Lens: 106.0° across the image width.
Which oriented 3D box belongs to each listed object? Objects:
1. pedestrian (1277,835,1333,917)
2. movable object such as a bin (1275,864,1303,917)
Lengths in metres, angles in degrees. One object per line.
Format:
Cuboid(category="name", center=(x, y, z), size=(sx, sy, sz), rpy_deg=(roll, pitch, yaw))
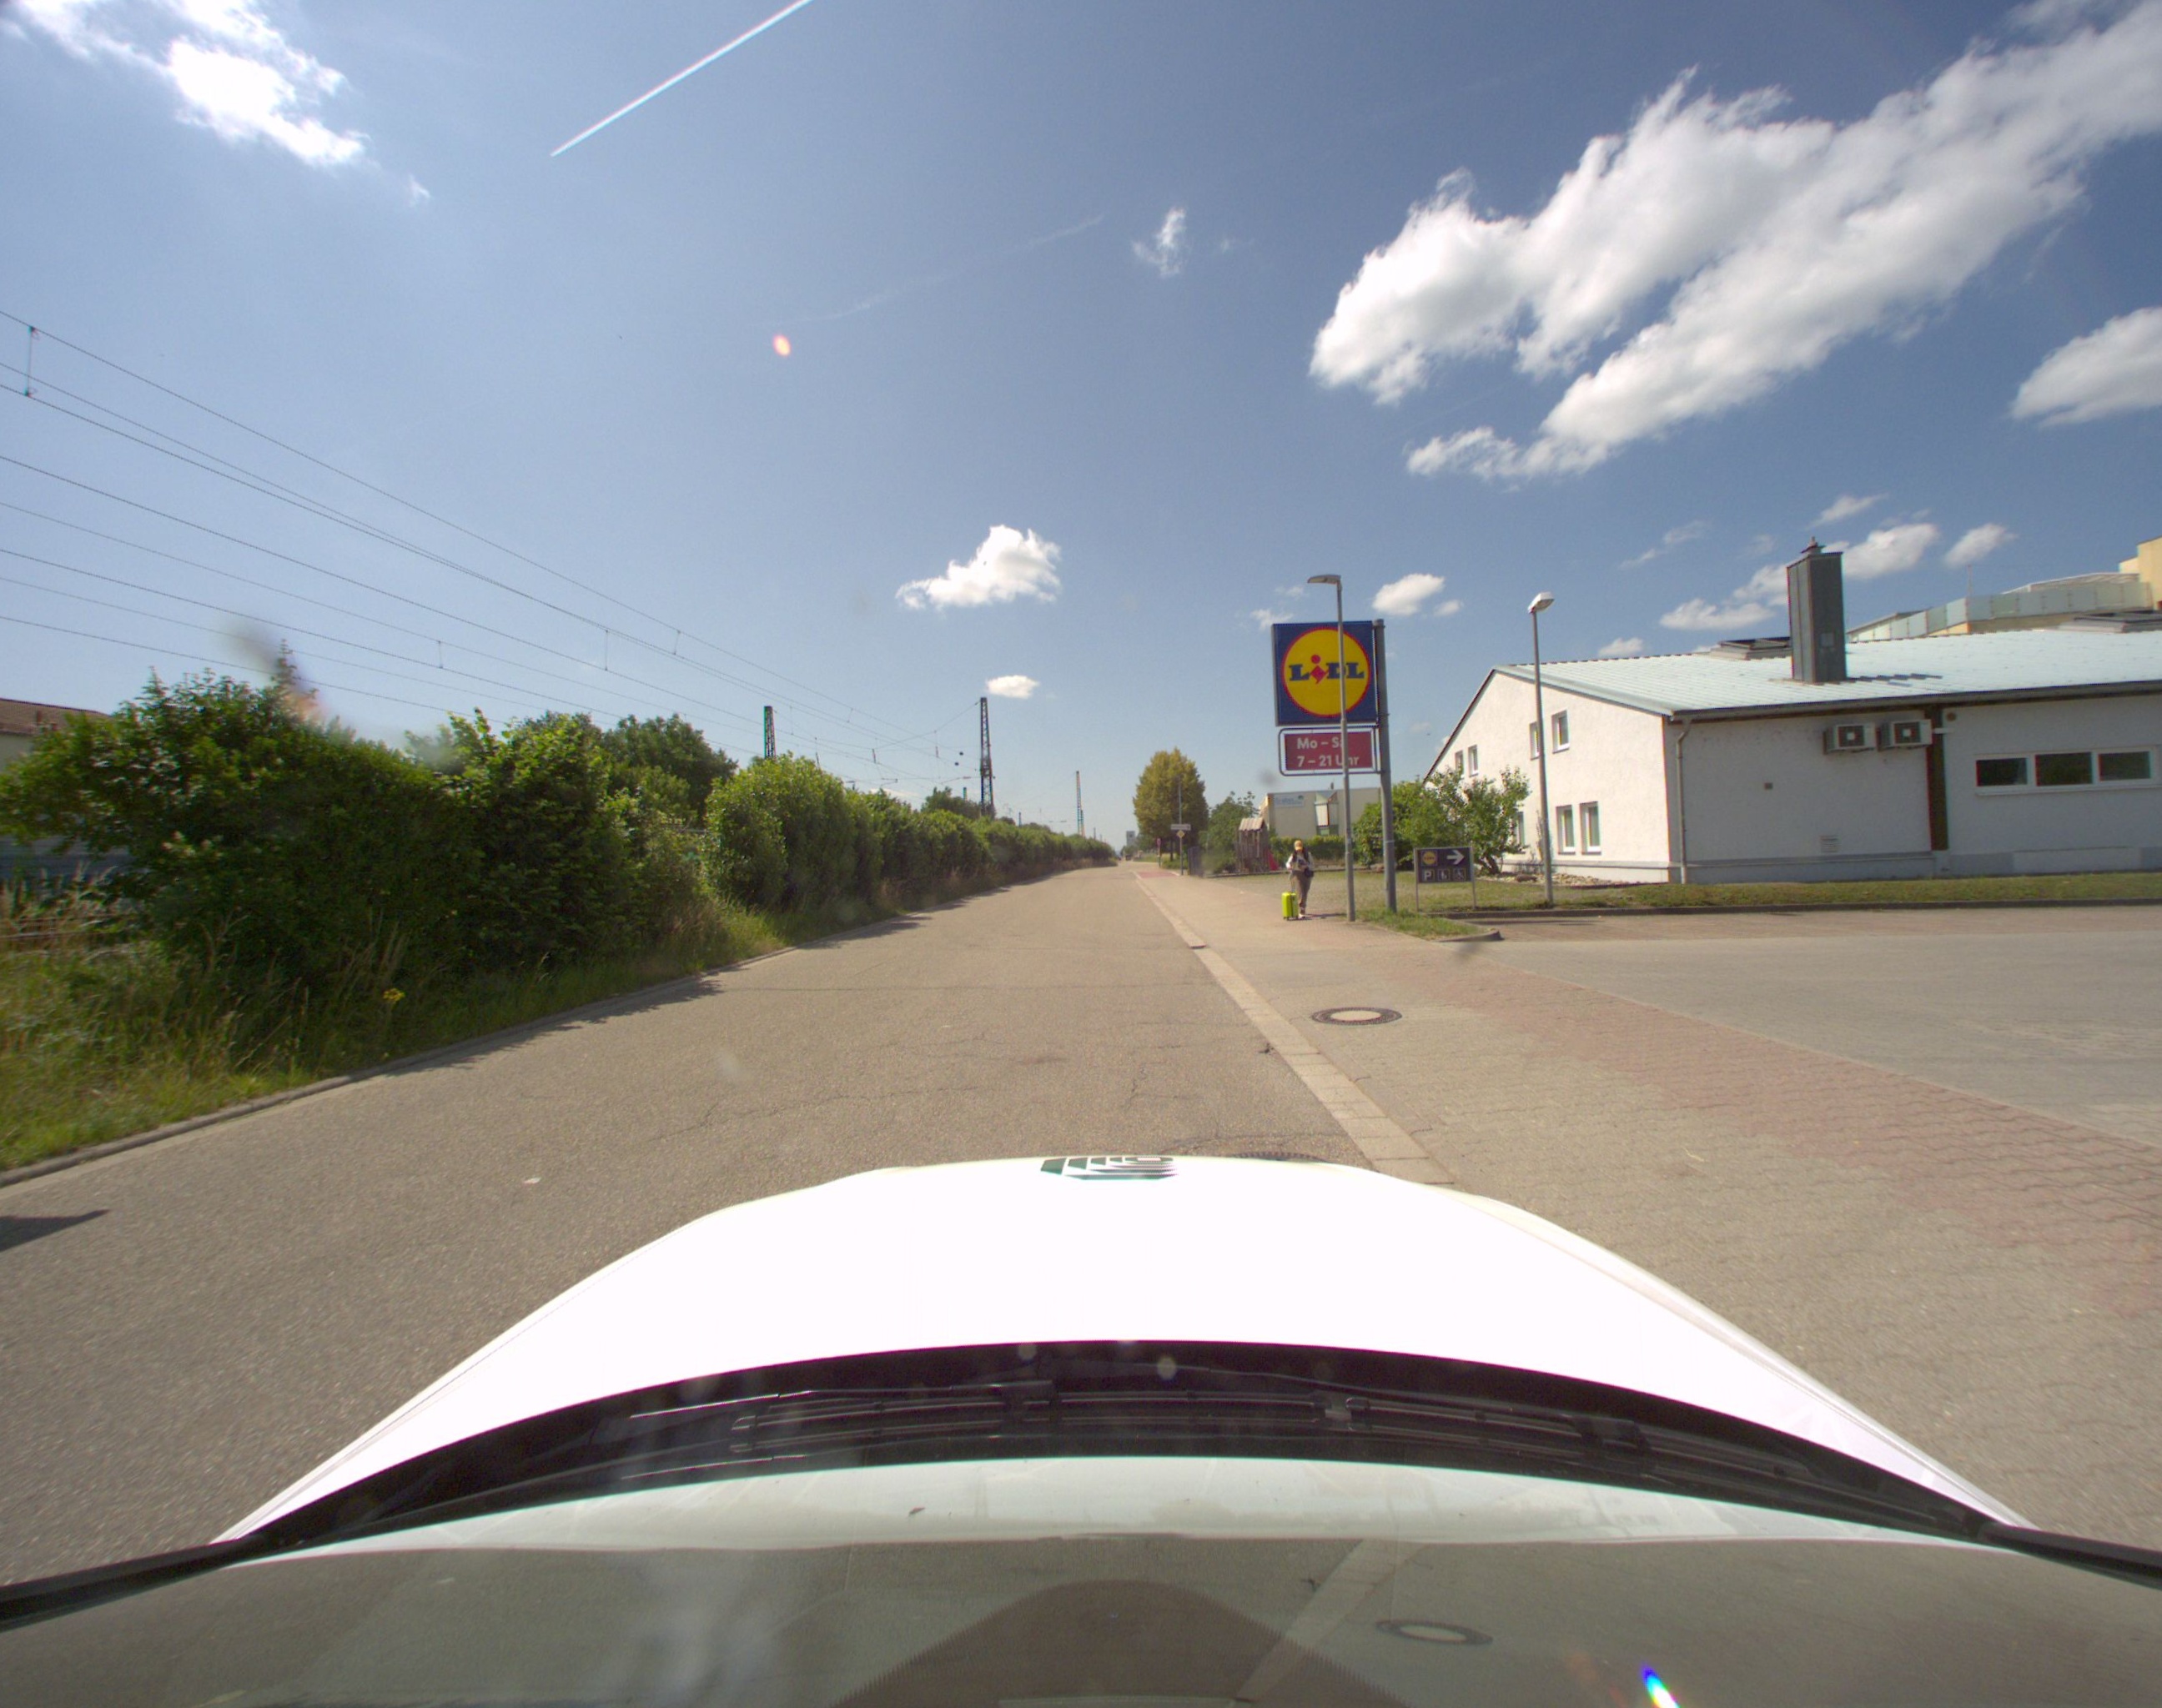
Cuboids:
Cuboid(category="pedestrian", center=(4.595, 0.438, 16.806), size=(0.759, 1.602, 1.210), rpy_deg=(-2, 0, -1))
Cuboid(category="movable object such as a bin", center=(4.190, 0.736, 16.441), size=(0.373, 1.030, 0.498), rpy_deg=(-3, 0, -2))
